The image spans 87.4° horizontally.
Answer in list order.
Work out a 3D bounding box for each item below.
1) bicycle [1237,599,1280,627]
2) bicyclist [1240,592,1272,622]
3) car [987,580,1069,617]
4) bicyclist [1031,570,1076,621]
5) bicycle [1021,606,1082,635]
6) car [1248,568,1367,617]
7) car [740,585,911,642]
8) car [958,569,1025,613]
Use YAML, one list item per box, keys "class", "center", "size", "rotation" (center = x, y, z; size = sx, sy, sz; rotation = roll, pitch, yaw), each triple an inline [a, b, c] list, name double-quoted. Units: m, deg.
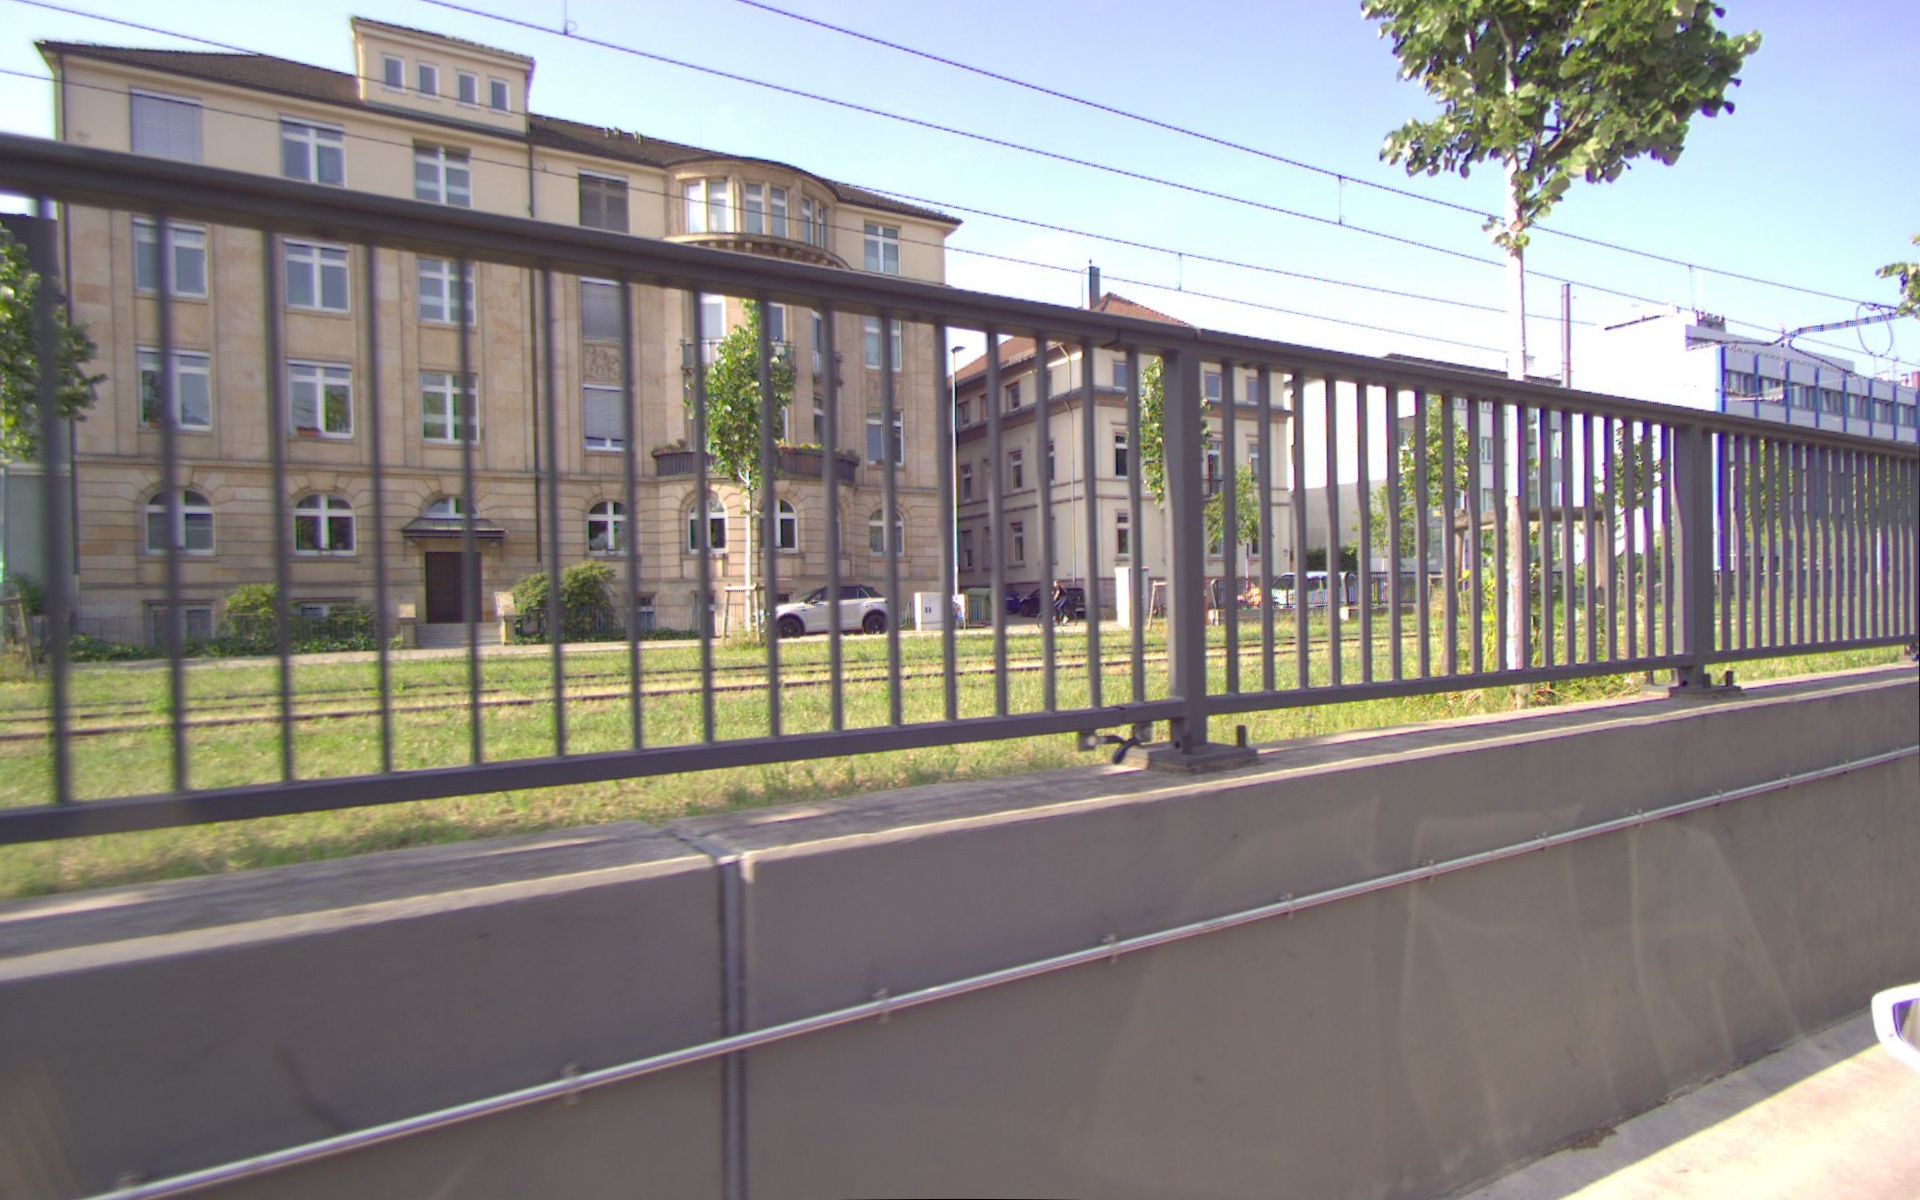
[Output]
- class: "bicycle"
  center: [12.104, 0.523, 40.726]
  size: [1.855, 1.108, 0.529]
  rotation: [0, 2, -32]
- class: "bicyclist"
  center: [11.974, 0.287, 40.640]
  size: [1.237, 1.194, 0.529]
  rotation: [1, 2, -32]
- class: "car"
  center: [3.024, -0.057, 45.147]
  size: [1.636, 1.573, 3.964]
  rotation: [-1, 0, -33]
- class: "bicyclist"
  center: [3.323, -0.151, 35.671]
  size: [1.497, 1.715, 0.471]
  rotation: [2, 4, -30]
- class: "bicycle"
  center: [3.272, 0.721, 35.738]
  size: [2.120, 0.939, 0.657]
  rotation: [2, 4, -29]
- class: "car"
  center: [15.636, -0.320, 45.105]
  size: [5.203, 2.041, 2.237]
  rotation: [1, 2, -31]
- class: "car"
  center: [-3.777, 0.383, 28.383]
  size: [4.384, 1.486, 1.984]
  rotation: [1, 0, -30]
- class: "car"
  center: [1.530, -0.468, 50.099]
  size: [1.581, 2.041, 3.905]
  rotation: [1, 2, -28]
